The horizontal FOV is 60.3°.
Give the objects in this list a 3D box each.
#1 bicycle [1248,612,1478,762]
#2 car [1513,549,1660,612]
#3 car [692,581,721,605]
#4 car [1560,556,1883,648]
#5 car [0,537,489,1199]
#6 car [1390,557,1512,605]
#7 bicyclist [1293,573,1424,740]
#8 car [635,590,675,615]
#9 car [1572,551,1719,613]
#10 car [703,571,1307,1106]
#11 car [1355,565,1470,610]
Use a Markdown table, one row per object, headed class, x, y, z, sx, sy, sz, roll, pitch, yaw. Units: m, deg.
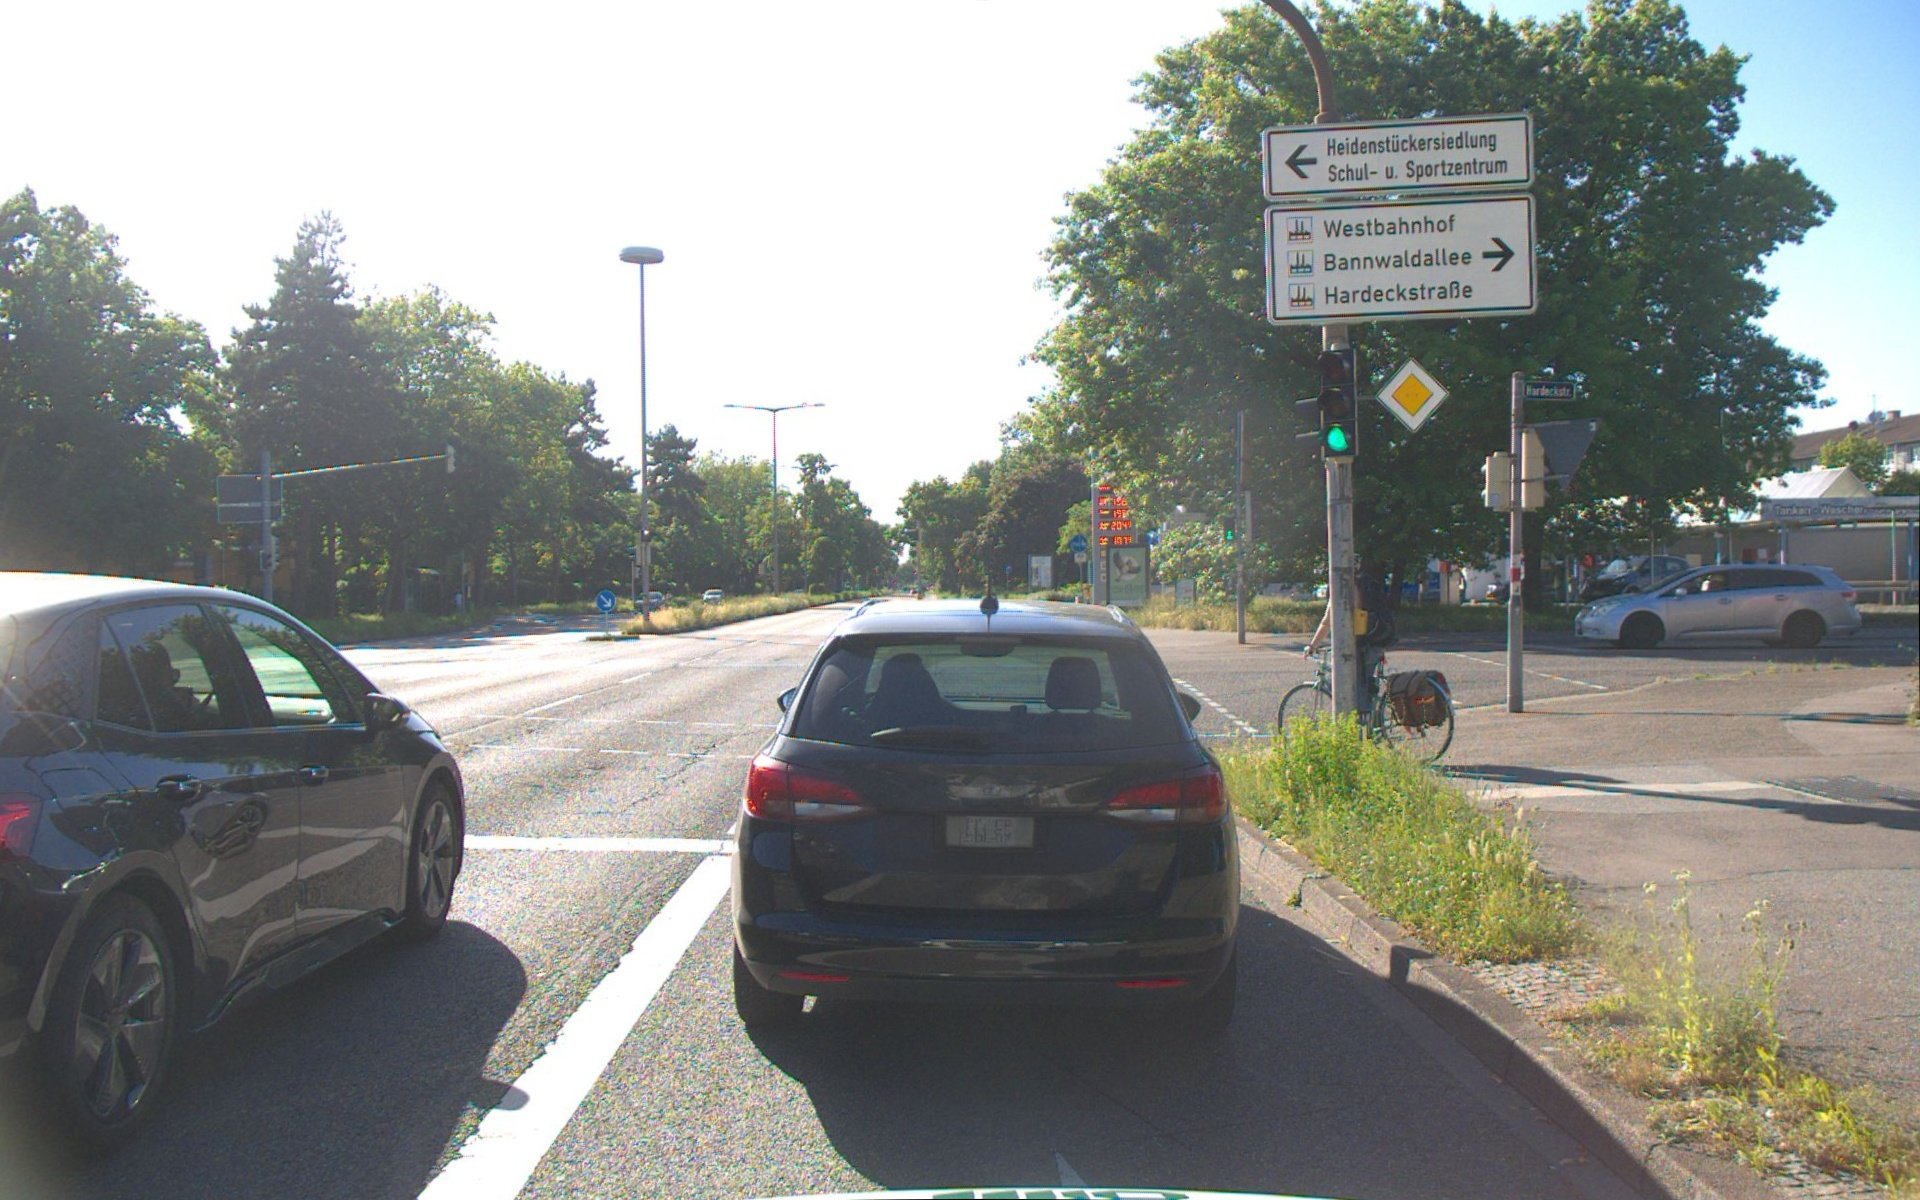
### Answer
| class | x | y | z | sx | sy | sz | roll | pitch | yaw |
| --- | --- | --- | --- | --- | --- | --- | --- | --- | --- |
| bicycle | 3.226 | 0.703 | 13.371 | 0.533 | 1.117 | 1.748 | -2 | -2 | -44 |
| car | 18.929 | -0.597 | 50.001 | 3.935 | 1.780 | 1.985 | -2 | 1 | -24 |
| car | -22.276 | -0.602 | 145.602 | 1.953 | 2.049 | 3.999 | -2 | 0 | -1 |
| car | 13.538 | 0.032 | 29.704 | 4.897 | 1.512 | 2.002 | -1 | 0 | 11 |
| car | -2.998 | 0.661 | 5.605 | 1.650 | 1.608 | 4.206 | 0 | 0 | -1 |
| car | 16.908 | -0.651 | 56.985 | 3.837 | 1.544 | 1.732 | -2 | 0 | -24 |
| bicyclist | 3.219 | 0.457 | 13.373 | 0.534 | 1.299 | 0.816 | -2 | -2 | -44 |
| car | -20.590 | 0.140 | 111.764 | 1.953 | 1.556 | 3.999 | -2 | 0 | -1 |
| car | 19.988 | -0.533 | 48.197 | 3.934 | 1.709 | 1.732 | -2 | 0 | -24 |
| car | 0.102 | 0.687 | 6.837 | 1.721 | 1.521 | 4.206 | 0 | 0 | -1 |
| car | 16.431 | -0.464 | 60.061 | 3.837 | 1.544 | 1.732 | -2 | 0 | -24 |
